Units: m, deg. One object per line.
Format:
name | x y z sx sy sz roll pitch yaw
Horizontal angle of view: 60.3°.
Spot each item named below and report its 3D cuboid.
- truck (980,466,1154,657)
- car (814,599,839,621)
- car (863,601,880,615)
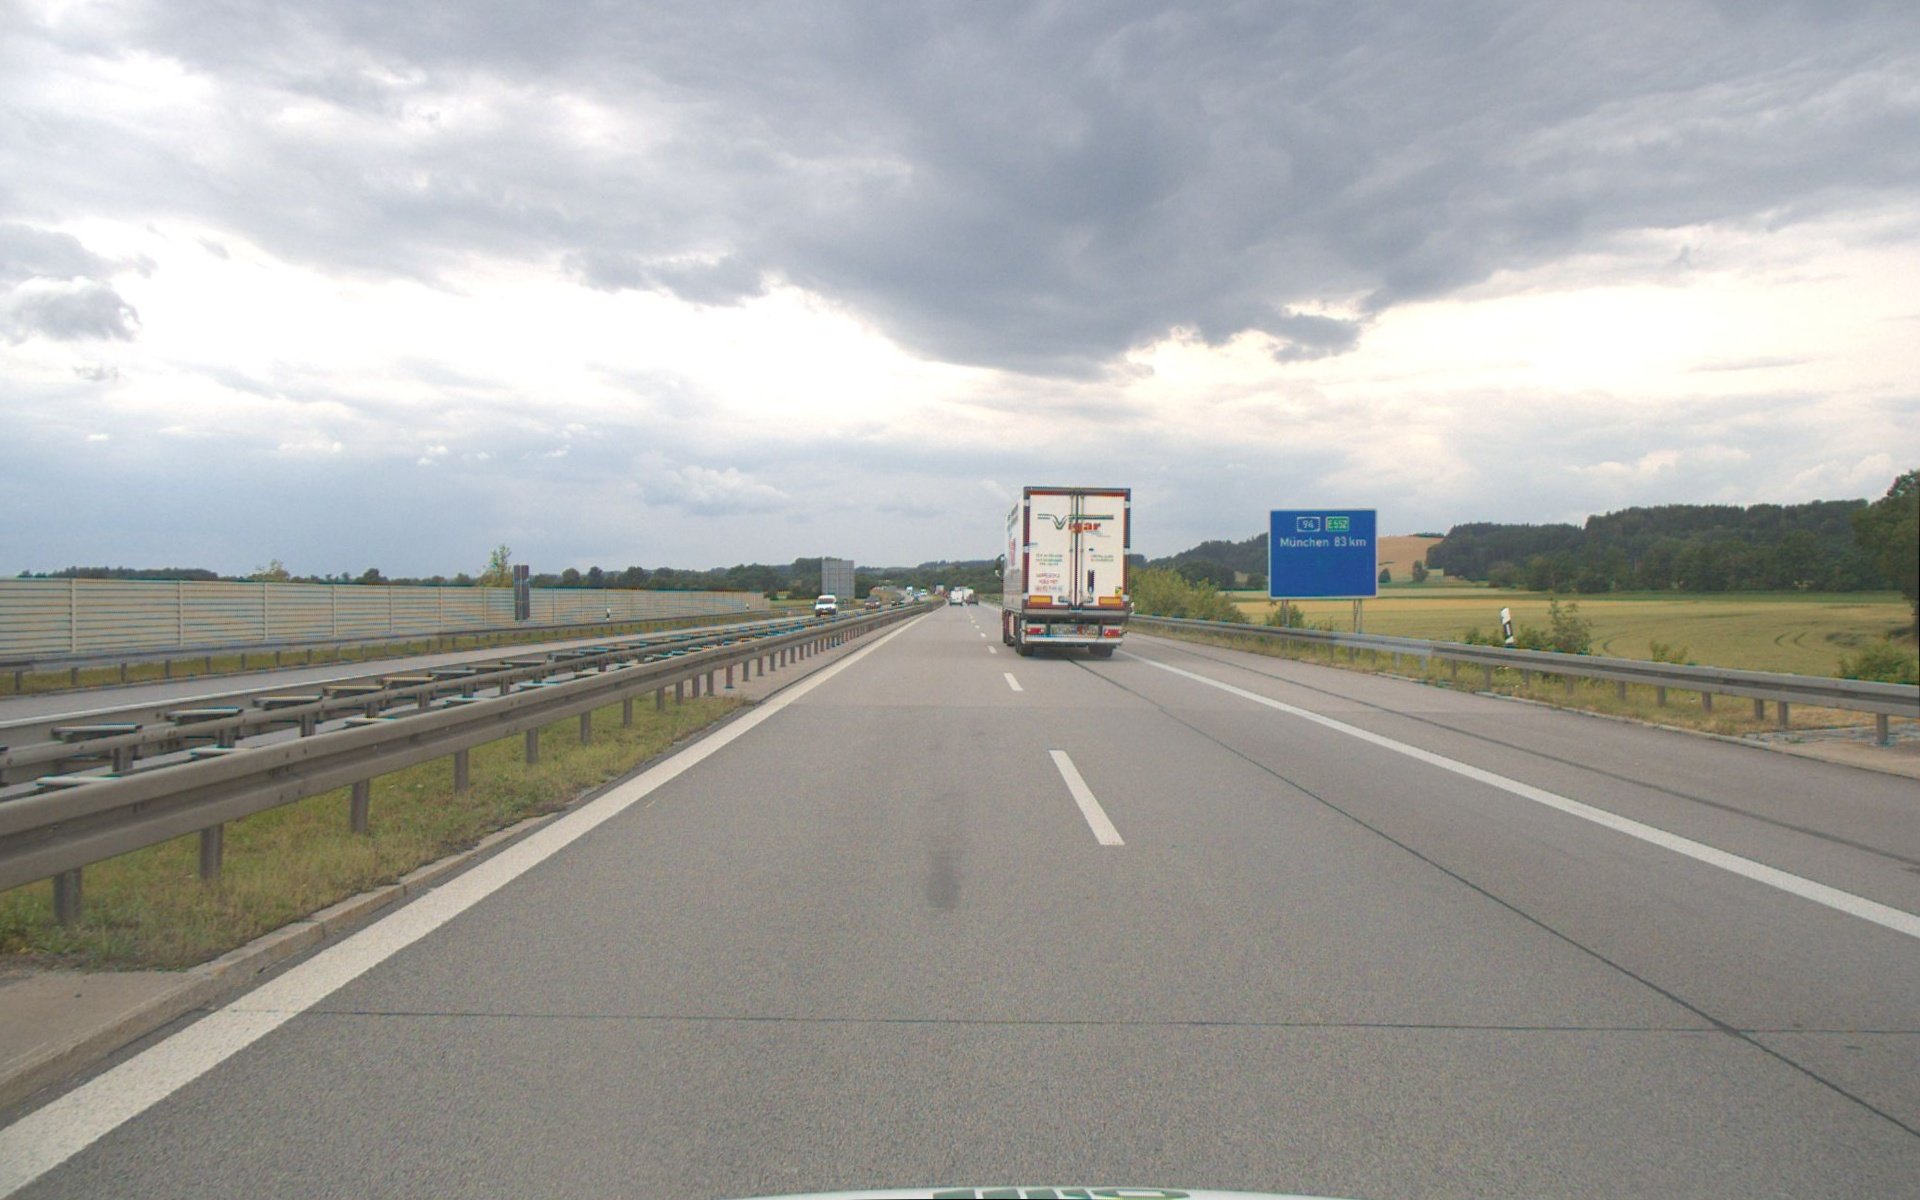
truck | 2.610 -0.950 46.965 3.598 4.489 16.337 0 0 -1
car | -11.393 0.862 141.447 1.720 1.772 4.913 -3 0 0
car | -11.148 1.047 208.590 1.857 1.660 4.174 -3 0 0
